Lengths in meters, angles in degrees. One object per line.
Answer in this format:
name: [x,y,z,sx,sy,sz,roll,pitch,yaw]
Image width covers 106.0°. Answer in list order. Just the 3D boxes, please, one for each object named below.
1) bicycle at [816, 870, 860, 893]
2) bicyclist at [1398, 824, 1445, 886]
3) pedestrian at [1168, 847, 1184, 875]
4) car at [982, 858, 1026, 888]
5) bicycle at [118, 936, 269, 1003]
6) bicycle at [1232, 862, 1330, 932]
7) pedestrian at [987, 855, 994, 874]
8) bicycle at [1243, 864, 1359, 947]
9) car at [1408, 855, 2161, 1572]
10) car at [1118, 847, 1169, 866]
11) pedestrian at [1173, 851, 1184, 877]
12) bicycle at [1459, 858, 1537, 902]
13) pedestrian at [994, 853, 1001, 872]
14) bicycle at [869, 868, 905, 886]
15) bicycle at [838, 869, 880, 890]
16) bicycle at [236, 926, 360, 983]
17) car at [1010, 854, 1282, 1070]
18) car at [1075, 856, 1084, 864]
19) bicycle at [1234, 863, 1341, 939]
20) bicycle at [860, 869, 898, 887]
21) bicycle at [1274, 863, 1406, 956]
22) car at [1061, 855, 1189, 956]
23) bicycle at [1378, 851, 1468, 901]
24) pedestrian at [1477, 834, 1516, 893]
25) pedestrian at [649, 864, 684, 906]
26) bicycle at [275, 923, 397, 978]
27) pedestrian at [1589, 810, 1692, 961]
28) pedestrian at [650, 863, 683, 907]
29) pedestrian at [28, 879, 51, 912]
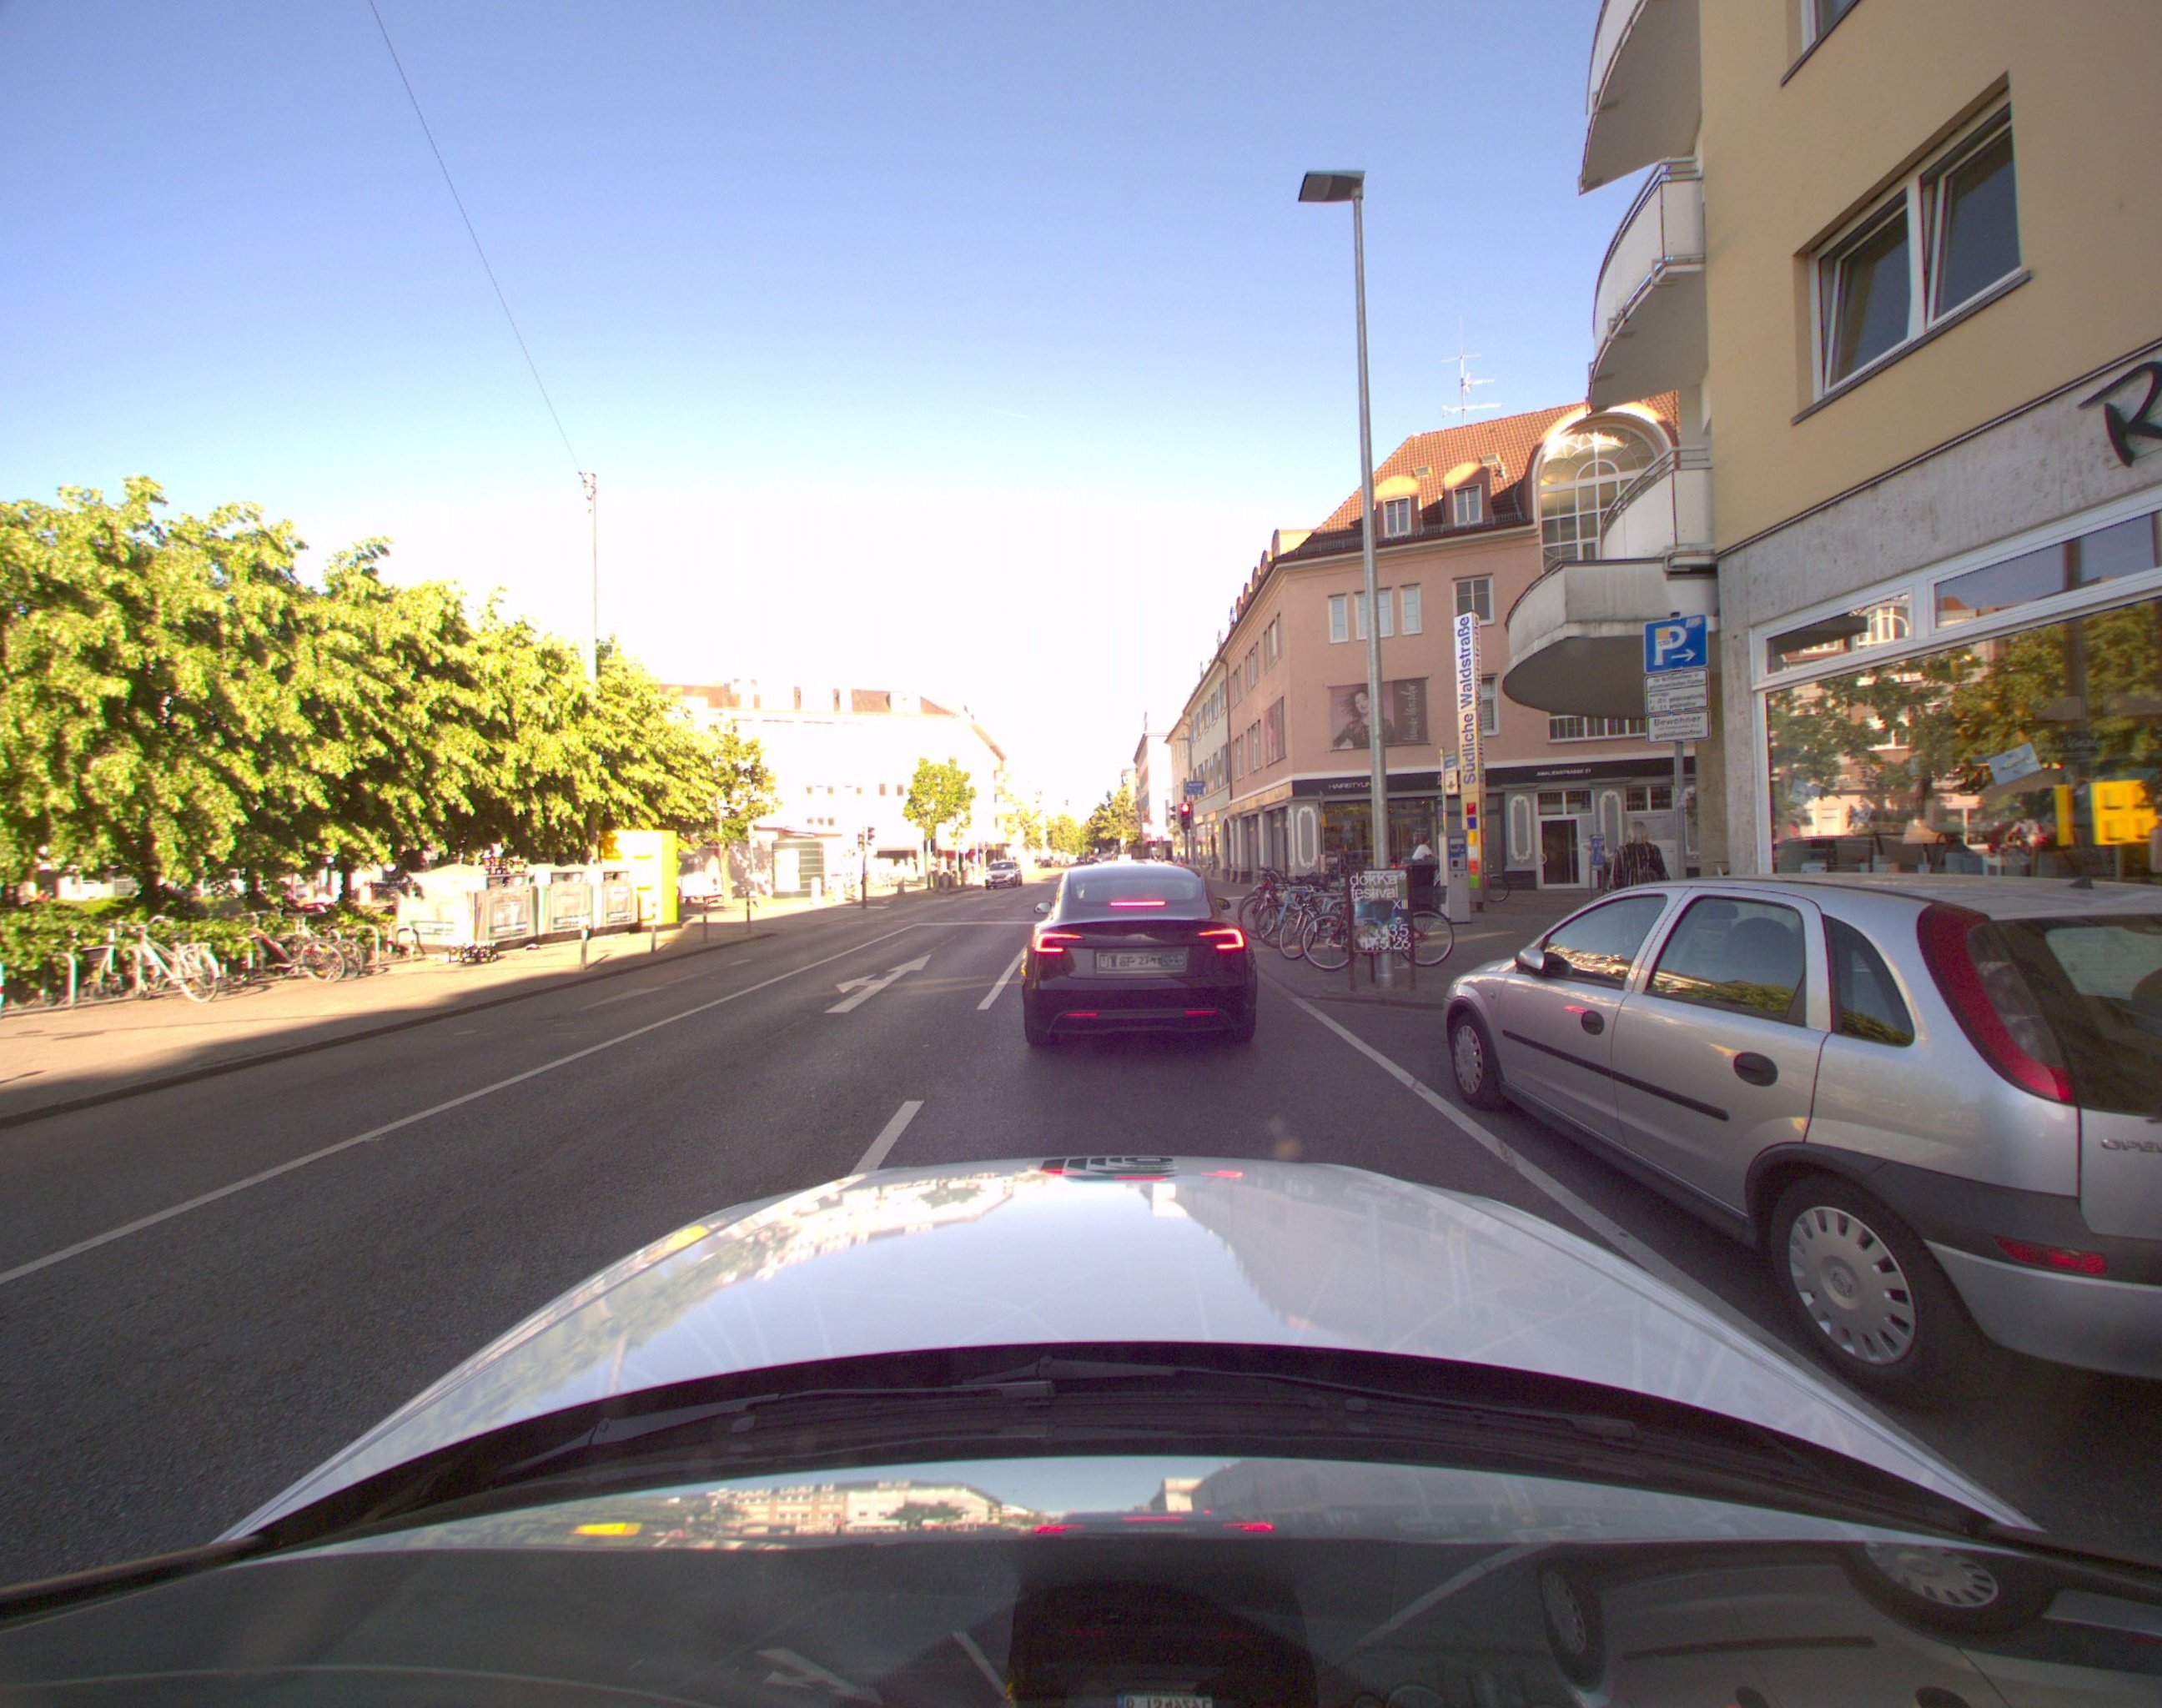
bicycle: [-12.860,1.451,43.133,2.075,1.104,0.806,-1,0,1]
bicyclist: [9.057,0.032,21.699,1.088,1.589,0.631,-1,0,18]
pedestrian: [6.545,0.477,55.960,0.995,1.850,0.615,-1,0,1]
car: [-4.519,1.093,48.126,1.986,1.541,4.002,-5,0,2]
bicycle: [-11.249,1.454,10.331,1.645,0.769,0.476,-1,-1,10]
bicycle: [3.612,0.766,14.801,1.621,1.160,0.433,-3,0,2]
pedestrian: [-9.949,1.177,89.311,0.623,2.014,0.707,-1,0,1]
bicycle: [3.364,0.777,12.513,1.622,1.160,0.433,-3,0,0]
car: [2.945,0.720,3.548,1.615,1.394,3.888,-1,0,3]
car: [6.295,0.260,81.732,4.596,1.727,2.068,-1,0,24]
pedestrian: [6.690,0.698,55.899,0.701,1.783,0.534,-1,0,1]
bicycle: [10.244,0.631,20.043,1.604,1.045,0.593,-1,-1,14]
pedestrian: [-9.171,0.950,89.286,0.623,2.014,0.575,-1,0,1]
bicycle: [-12.533,1.454,52.621,2.075,1.104,0.806,-1,0,1]
bicycle: [-12.443,1.442,45.645,2.075,1.104,0.806,-1,0,1]
bicycle: [-11.293,1.450,11.763,1.465,0.769,0.442,-1,-1,6]
car: [0.532,0.749,7.502,1.842,1.455,3.788,-1,0,3]
car: [-0.341,1.325,184.785,1.824,1.724,4.000,-1,0,0]
bicycle: [3.437,0.777,13.623,1.622,1.160,0.433,-3,0,0]
bicycle: [-12.490,1.483,50.424,2.075,1.104,0.806,-1,0,1]
bicycle: [3.557,0.755,11.245,1.622,1.160,0.433,-3,0,0]
car: [0.736,0.768,13.900,1.842,1.455,3.788,-1,0,3]
bicycle: [9.075,0.581,21.689,2.108,1.200,0.631,-4,-1,17]
pedestrian: [10.225,0.235,20.057,0.738,1.440,0.584,-1,-1,14]
pedestrian: [-16.692,1.227,32.817,0.981,1.636,0.738,-1,0,5]
bicycle: [-11.260,1.458,12.326,1.466,0.769,0.475,-1,-1,4]
pedestrian: [6.409,0.354,9.354,0.659,1.633,0.629,-4,-1,6]
pedestrian: [-16.625,1.229,32.655,0.897,1.725,0.745,-1,0,5]
pedestrian: [-56.721,2.249,44.365,0.576,1.792,0.604,-1,-1,19]
